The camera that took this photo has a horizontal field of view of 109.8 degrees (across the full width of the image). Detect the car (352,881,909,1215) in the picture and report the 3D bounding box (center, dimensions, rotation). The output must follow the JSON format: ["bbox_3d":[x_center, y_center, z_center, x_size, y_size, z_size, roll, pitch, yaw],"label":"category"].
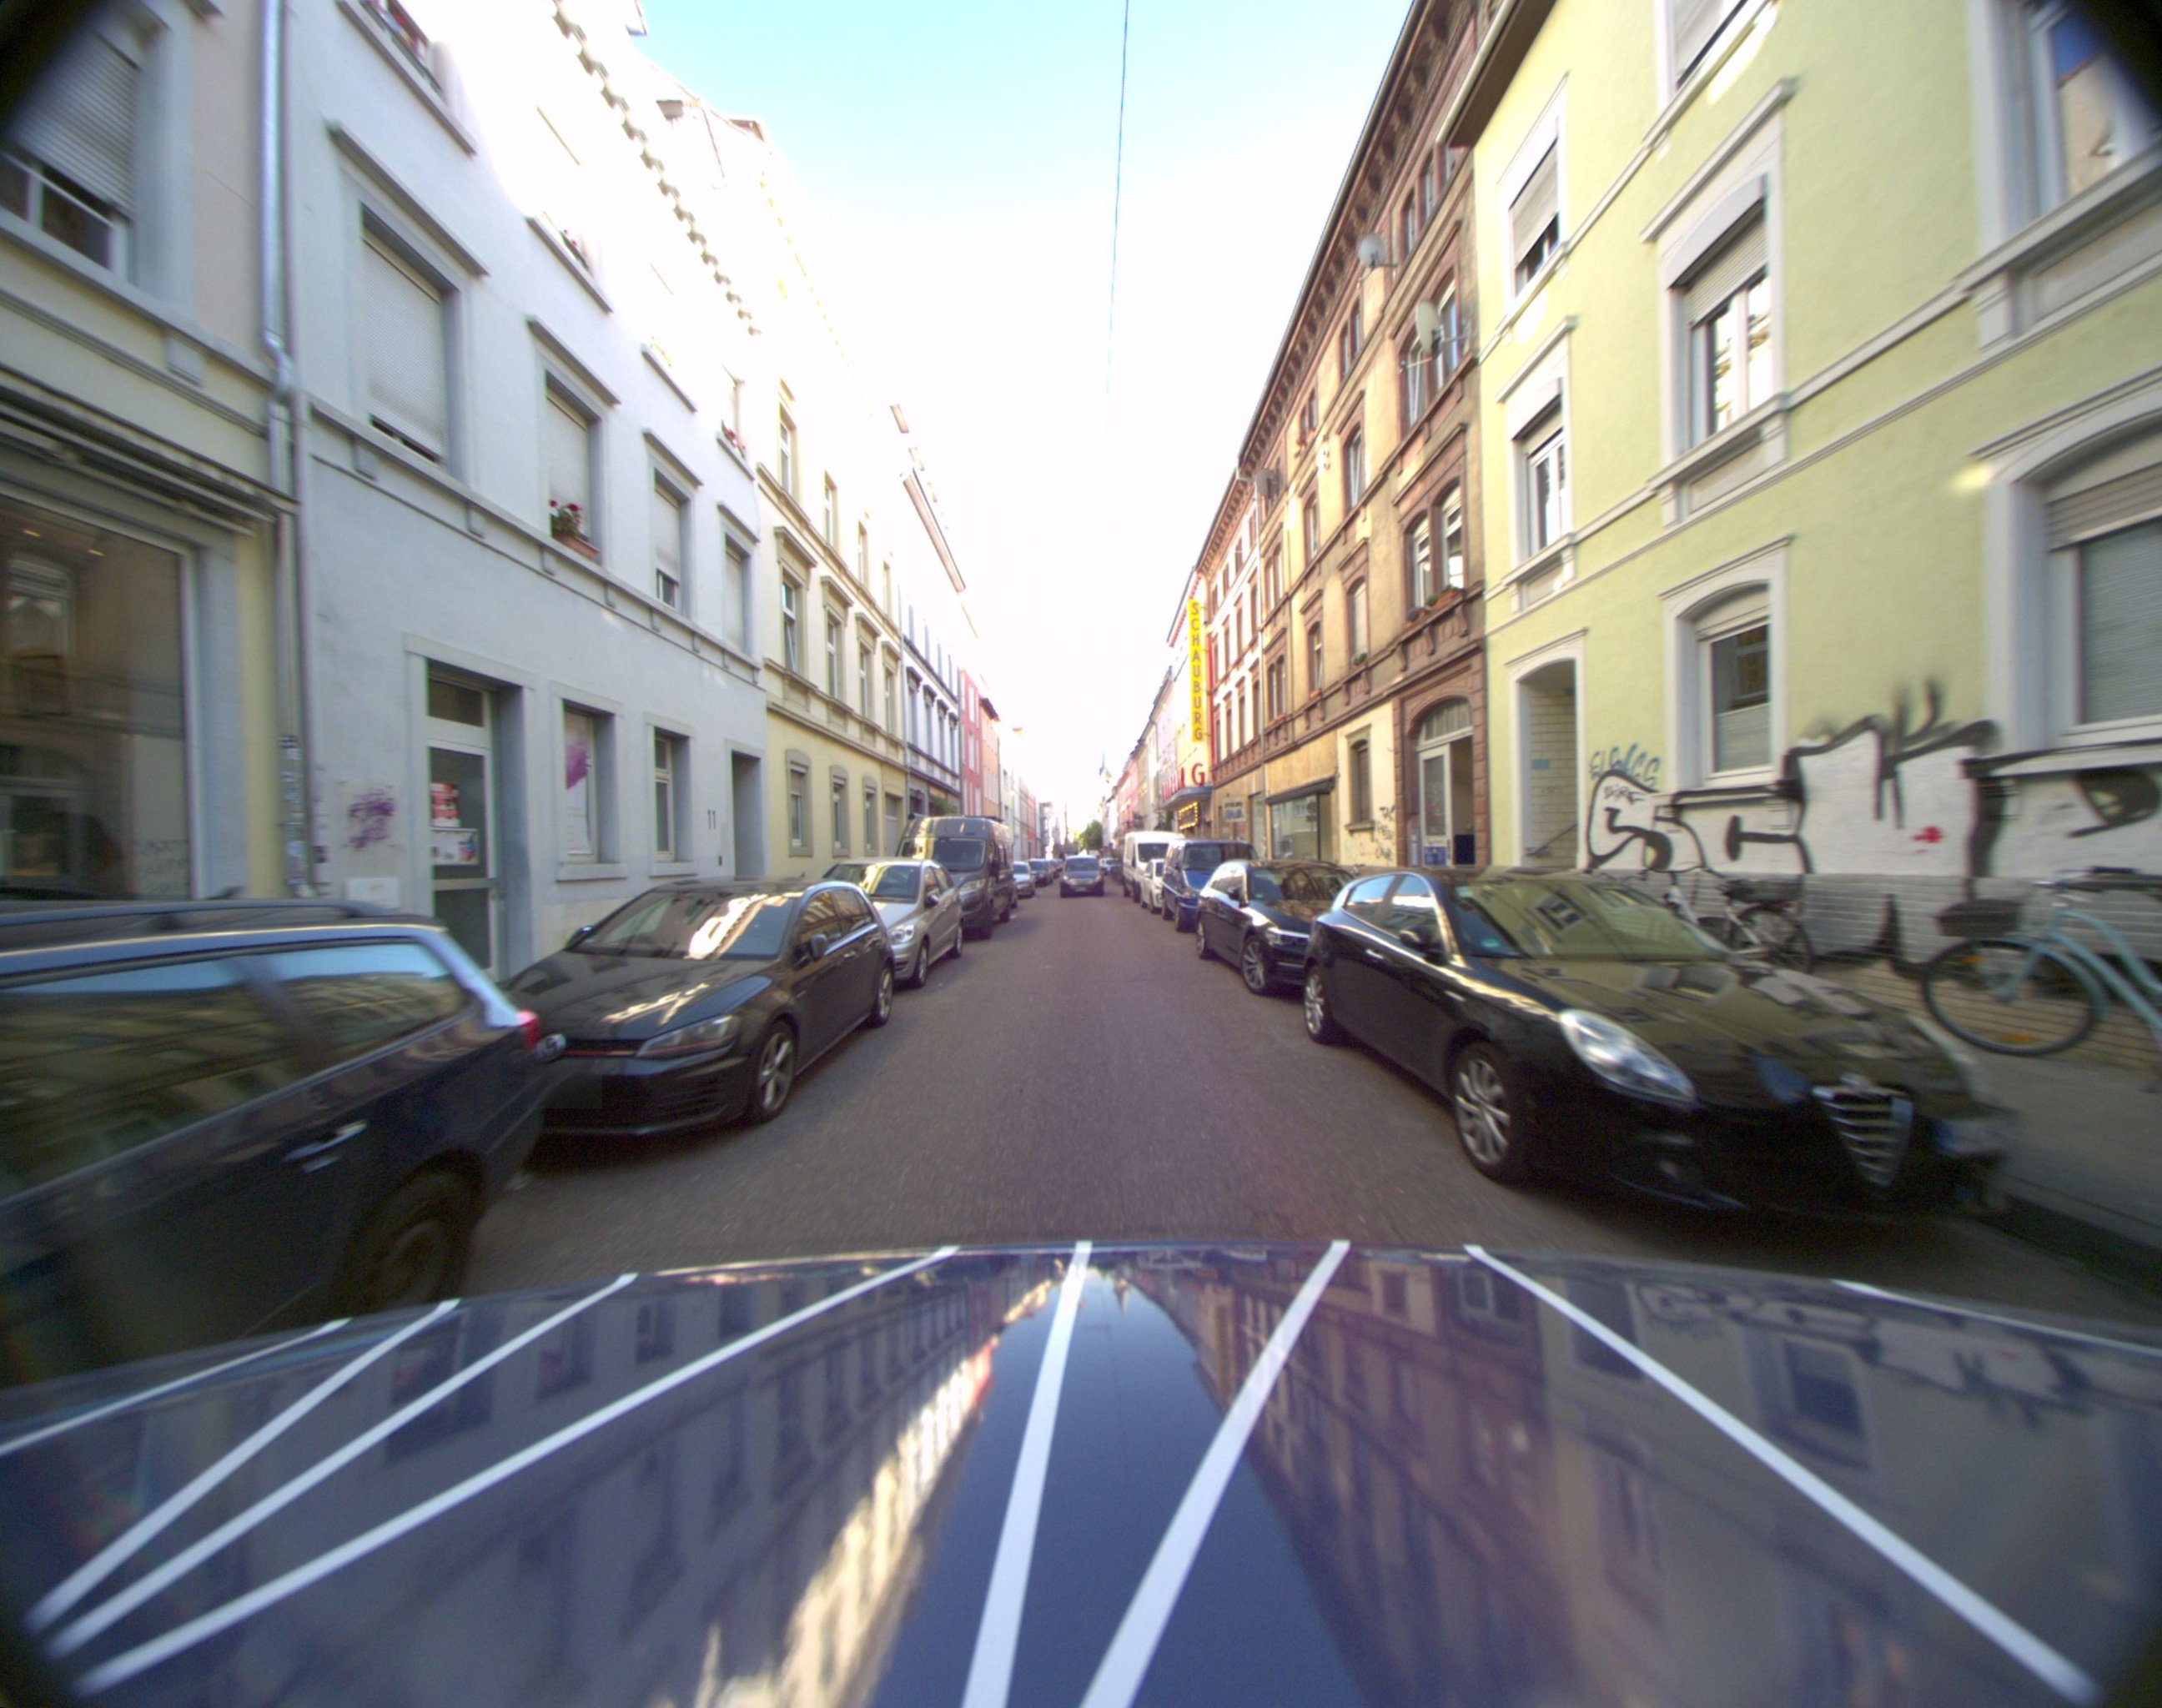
[{"bbox_3d":[-2.714,1.038,5.894,1.750,1.477,4.242,-1,0,0],"label":"car"}]

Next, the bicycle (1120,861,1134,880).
[{"bbox_3d":[2.726,0.977,45.471,0.547,1.087,1.881,-3,0,-3],"label":"bicycle"}]

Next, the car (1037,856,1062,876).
[{"bbox_3d":[-2.454,0.891,59.503,1.701,1.514,3.980,0,0,1],"label":"car"}]

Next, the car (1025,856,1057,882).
[{"bbox_3d":[-2.541,0.918,49.046,1.750,1.547,4.171,-2,0,1],"label":"car"}]

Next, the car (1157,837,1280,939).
[{"bbox_3d":[2.812,0.636,16.581,1.832,1.881,4.613,1,0,0],"label":"car"}]

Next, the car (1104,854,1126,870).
[{"bbox_3d":[3.102,0.717,70.450,1.794,1.443,4.000,-1,0,0],"label":"car"}]

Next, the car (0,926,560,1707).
[{"bbox_3d":[-2.833,1.027,0.898,1.817,1.469,4.604,2,-1,-9],"label":"car"}]

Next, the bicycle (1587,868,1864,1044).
[{"bbox_3d":[5.545,0.786,6.757,0.675,1.264,2.086,-2,0,0],"label":"bicycle"}]

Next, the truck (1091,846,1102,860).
[{"bbox_3d":[3.583,-0.224,176.484,2.524,3.271,6.642,-2,0,1],"label":"truck"}]

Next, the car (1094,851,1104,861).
[{"bbox_3d":[3.452,0.410,147.842,1.998,2.002,4.258,-1,0,1],"label":"car"}]

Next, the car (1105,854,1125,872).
[{"bbox_3d":[2.940,0.767,64.954,1.684,1.446,4.034,0,0,4],"label":"car"}]

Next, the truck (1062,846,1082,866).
[{"bbox_3d":[-1.323,0.246,114.299,2.819,2.735,7.677,-3,0,0],"label":"truck"}]

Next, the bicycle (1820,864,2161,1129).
[{"bbox_3d":[5.615,0.712,4.219,0.669,1.238,2.327,-5,0,0],"label":"bicycle"}]

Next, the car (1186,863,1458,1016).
[{"bbox_3d":[2.682,0.863,9.737,1.867,1.431,4.644,-1,0,-2],"label":"car"}]

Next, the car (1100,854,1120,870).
[{"bbox_3d":[2.825,0.768,75.462,1.792,1.454,4.199,-1,0,-1],"label":"car"}]

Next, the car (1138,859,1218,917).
[{"bbox_3d":[2.642,0.875,21.456,1.650,1.438,3.839,-1,0,-1],"label":"car"}]

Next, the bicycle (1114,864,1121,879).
[{"bbox_3d":[2.334,1.112,49.104,0.391,0.911,1.393,-1,0,1],"label":"bicycle"}]

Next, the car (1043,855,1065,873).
[{"bbox_3d":[-2.432,0.879,69.599,1.794,1.542,4.000,-1,0,0],"label":"car"}]

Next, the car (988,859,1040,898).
[{"bbox_3d":[-2.732,0.994,32.044,1.791,1.446,4.546,1,0,0],"label":"car"}]

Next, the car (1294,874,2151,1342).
[{"bbox_3d":[2.698,0.901,4.527,1.741,1.418,4.000,-1,0,0],"label":"car"}]

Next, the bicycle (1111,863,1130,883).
[{"bbox_3d":[2.189,1.025,41.943,0.462,1.041,1.748,-3,0,-15],"label":"bicycle"}]

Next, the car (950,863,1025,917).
[{"bbox_3d":[-2.835,1.055,23.800,1.752,1.436,4.172,-2,0,0],"label":"car"}]

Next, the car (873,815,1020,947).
[{"bbox_3d":[-2.716,0.490,17.096,2.180,2.411,6.308,0,0,0],"label":"car"}]

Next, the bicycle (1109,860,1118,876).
[{"bbox_3d":[2.290,0.980,54.027,0.500,1.099,1.829,-3,0,0],"label":"bicycle"}]

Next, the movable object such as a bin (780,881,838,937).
[{"bbox_3d":[-5.336,1.068,14.954,0.865,1.036,0.708,2,0,-2],"label":"movable object such as a bin"}]

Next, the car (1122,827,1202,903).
[{"bbox_3d":[2.761,0.344,27.356,2.174,2.437,5.920,0,0,-1],"label":"car"}]

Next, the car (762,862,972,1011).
[{"bbox_3d":[-2.698,0.948,10.640,1.698,1.598,4.374,0,0,0],"label":"car"}]

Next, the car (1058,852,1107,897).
[{"bbox_3d":[0.067,0.765,30.629,1.832,1.650,4.213,-1,0,0],"label":"car"}]

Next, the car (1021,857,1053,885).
[{"bbox_3d":[-2.531,0.961,44.247,1.606,1.530,3.450,1,0,1],"label":"car"}]

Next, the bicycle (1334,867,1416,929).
[{"bbox_3d":[5.608,0.805,14.630,0.757,1.015,2.029,-5,0,1],"label":"bicycle"}]

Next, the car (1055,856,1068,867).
[{"bbox_3d":[-2.666,1.036,105.596,1.644,1.528,3.842,-2,0,0],"label":"car"}]

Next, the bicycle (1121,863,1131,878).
[{"bbox_3d":[2.944,1.072,49.451,0.555,0.938,1.571,-1,0,1],"label":"bicycle"}]

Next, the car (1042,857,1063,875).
[{"bbox_3d":[-2.350,0.952,64.081,1.692,1.444,4.193,0,0,-1],"label":"car"}]
